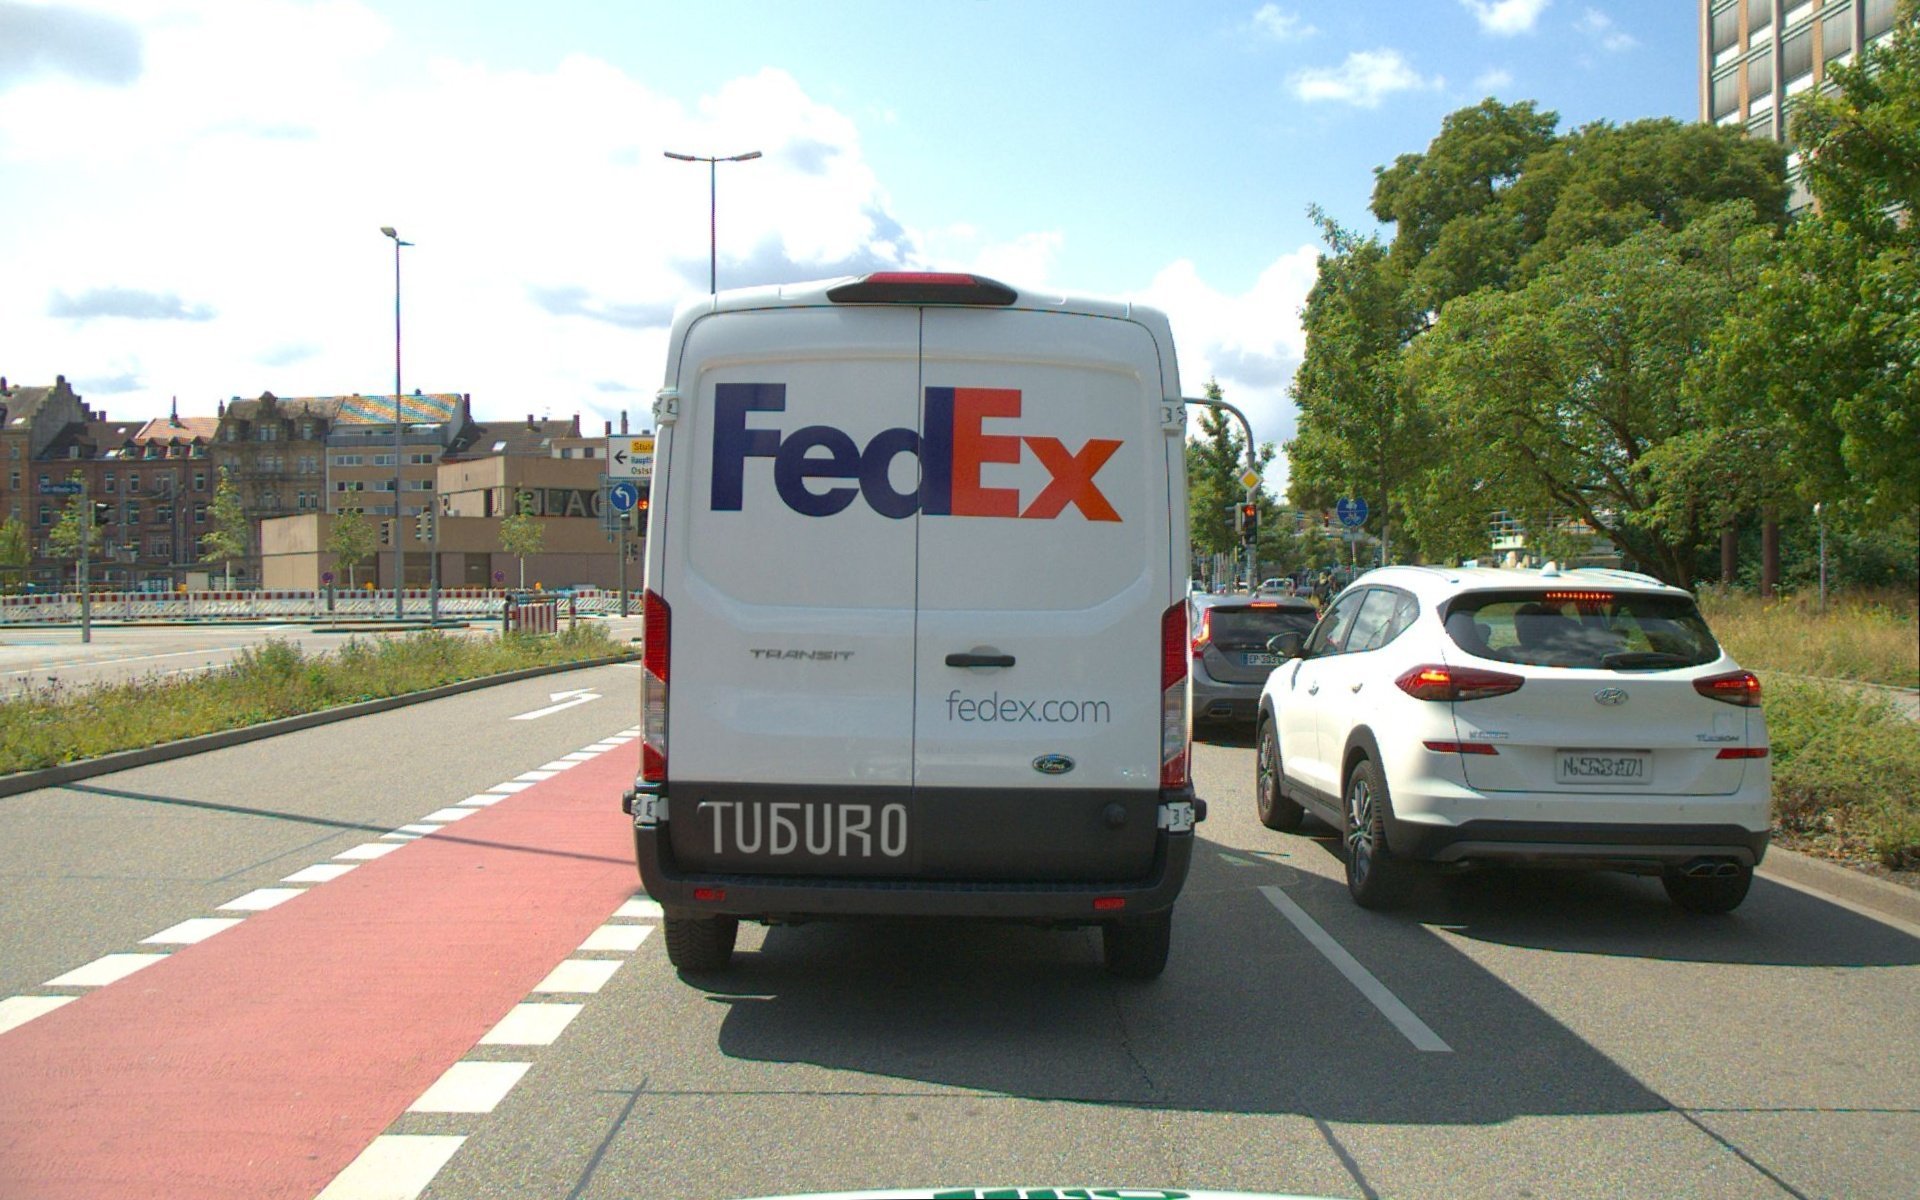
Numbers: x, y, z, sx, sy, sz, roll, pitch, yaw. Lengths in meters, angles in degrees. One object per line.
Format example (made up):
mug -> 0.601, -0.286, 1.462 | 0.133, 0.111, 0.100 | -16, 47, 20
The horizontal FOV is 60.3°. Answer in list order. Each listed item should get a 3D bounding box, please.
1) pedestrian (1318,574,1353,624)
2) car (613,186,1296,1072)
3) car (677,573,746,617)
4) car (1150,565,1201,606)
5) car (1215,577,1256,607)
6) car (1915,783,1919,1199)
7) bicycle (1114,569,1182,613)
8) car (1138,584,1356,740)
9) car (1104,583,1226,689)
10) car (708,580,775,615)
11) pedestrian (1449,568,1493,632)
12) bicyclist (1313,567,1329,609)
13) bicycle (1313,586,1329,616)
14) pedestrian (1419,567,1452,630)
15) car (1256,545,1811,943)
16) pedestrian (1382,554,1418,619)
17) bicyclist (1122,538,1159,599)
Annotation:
pedestrian -> 10.849, -0.031, 47.794 | 0.827, 1.413, 0.741 | 0, 1, -1
car -> -0.139, 0.076, 7.947 | 2.098, 2.699, 5.701 | 0, 0, -3
car -> -12.072, -0.249, 80.476 | 1.951, 2.049, 4.003 | -1, 0, 14
car -> 11.016, -0.721, 84.220 | 2.048, 2.049, 4.647 | -1, 0, 14
car -> 17.220, -0.499, 103.134 | 1.951, 1.825, 4.374 | -1, 0, 17
car -> 2.890, 0.612, 1.229 | 1.775, 1.764, 4.388 | 1, 1, -1
bicycle -> 5.772, -0.276, 50.805 | 2.021, 1.312, 0.604 | 0, 0, 2
car -> 2.966, 0.580, 17.823 | 1.760, 1.486, 3.839 | 0, 1, 1
car -> 2.981, 0.479, 24.598 | 1.454, 1.453, 3.433 | 0, 1, 1
car -> -10.287, -0.113, 78.188 | 1.860, 1.613, 4.003 | -1, 0, 13
pedestrian -> 12.601, -0.006, 40.800 | 0.827, 1.565, 0.835 | 0, 1, -1
bicyclist -> 12.823, -0.423, 58.708 | 0.538, 1.500, 0.972 | 0, 1, 11
bicycle -> 12.819, 0.035, 58.755 | 0.534, 1.048, 1.928 | 0, 1, 12
pedestrian -> 15.551, -0.052, 54.155 | 0.828, 2.049, 0.740 | 0, 0, -5
car -> 2.838, 0.597, 9.157 | 1.760, 1.717, 4.001 | 0, 1, 1
pedestrian -> 14.290, -0.454, 53.723 | 0.836, 2.094, 0.733 | -1, 1, -29
bicyclist -> 5.547, -0.968, 50.814 | 1.096, 1.877, 0.593 | 0, 1, 1
